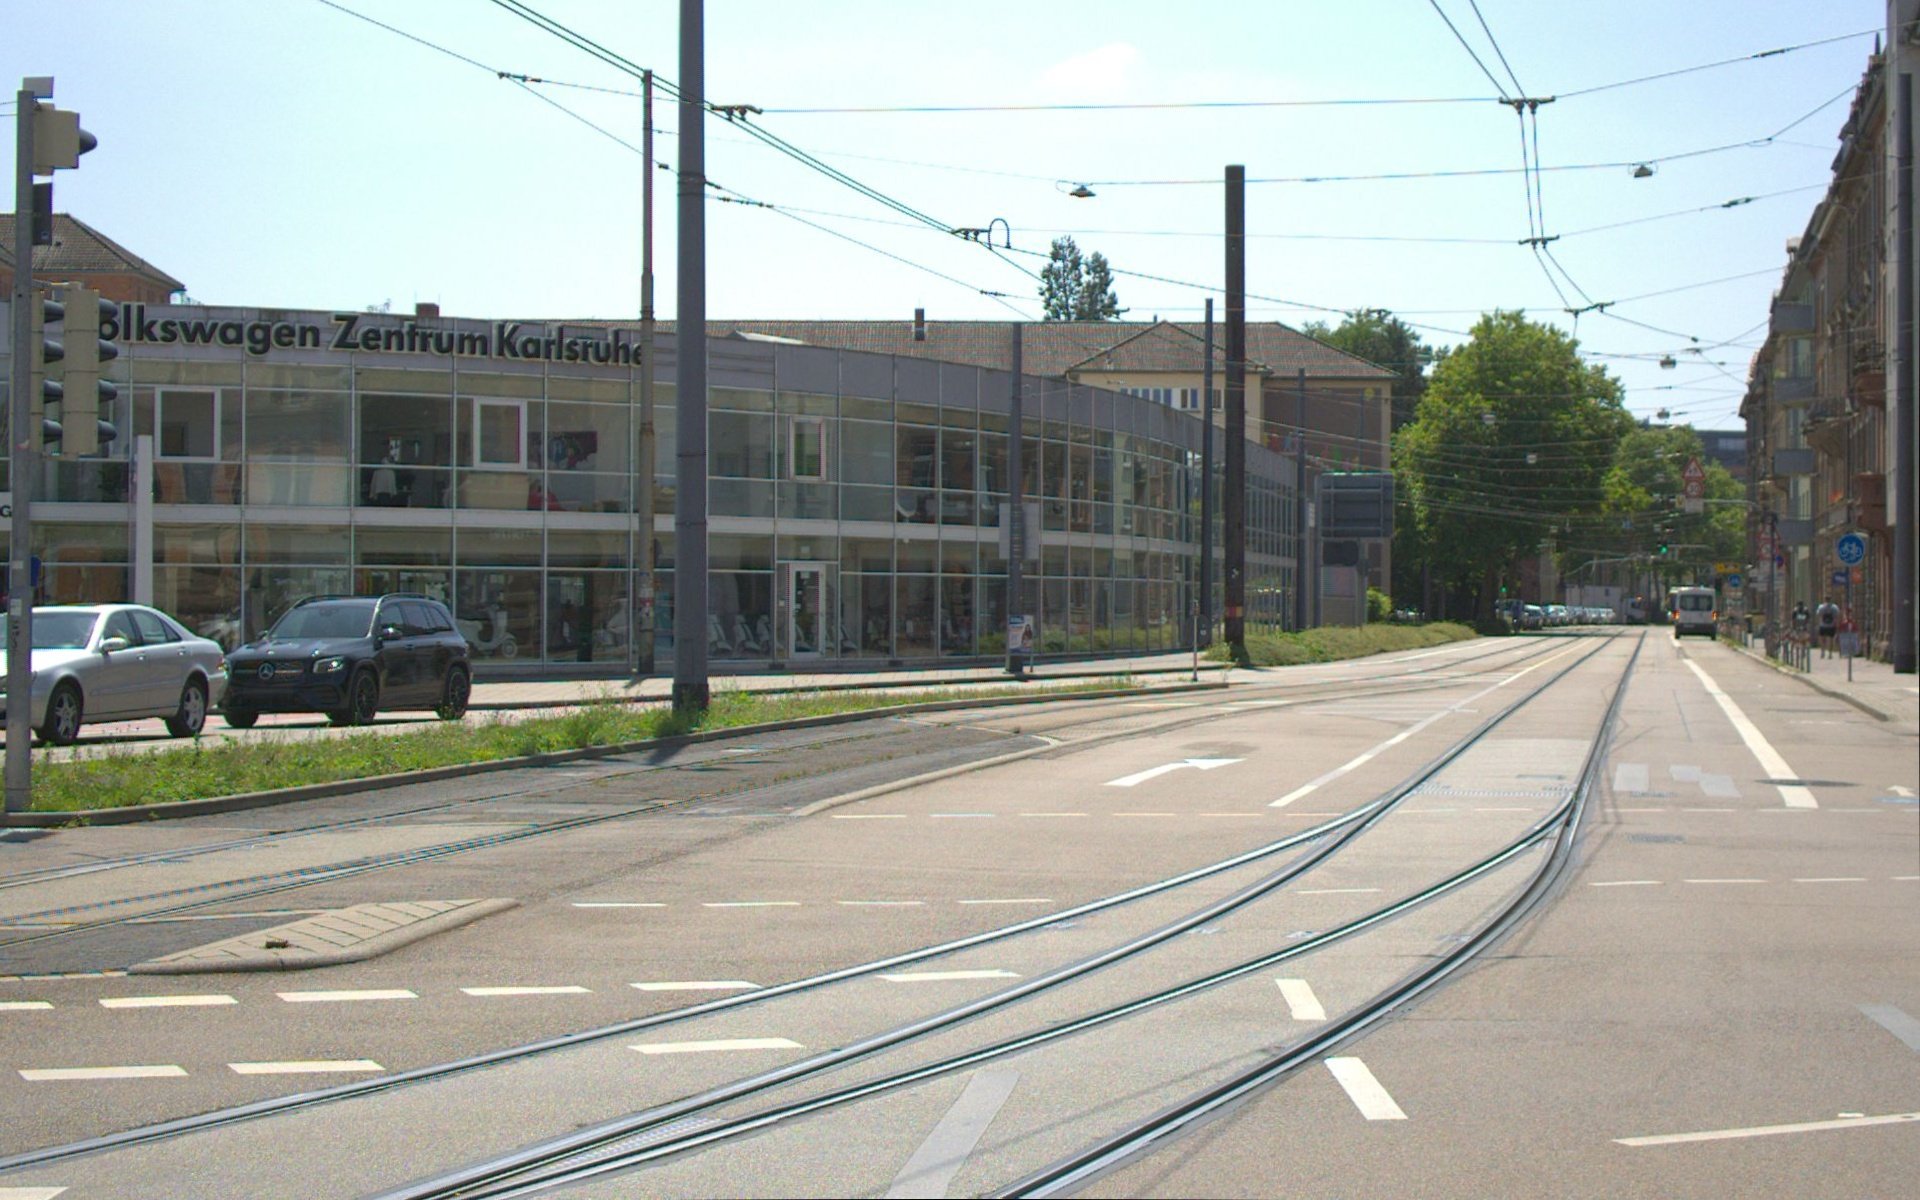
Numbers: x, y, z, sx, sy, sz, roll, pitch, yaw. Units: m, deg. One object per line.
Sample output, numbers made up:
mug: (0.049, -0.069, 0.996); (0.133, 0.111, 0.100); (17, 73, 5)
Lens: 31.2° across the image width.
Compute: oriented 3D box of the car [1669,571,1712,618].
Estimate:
car: (36.061, -0.249, 169.806); (1.994, 2.174, 4.367); (2, -1, 11)

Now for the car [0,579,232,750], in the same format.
car: (-9.830, 0.643, 37.360); (1.995, 1.733, 4.540); (0, 0, 14)

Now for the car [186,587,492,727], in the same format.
car: (-7.886, 0.680, 44.168); (2.080, 1.677, 4.843); (0, 0, 14)

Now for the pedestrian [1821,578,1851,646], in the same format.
pedestrian: (26.095, 0.355, 102.422); (0.768, 2.007, 0.663); (2, -1, 9)

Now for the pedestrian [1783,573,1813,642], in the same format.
pedestrian: (24.998, 0.224, 102.576); (0.768, 2.007, 0.663); (2, -1, 9)
